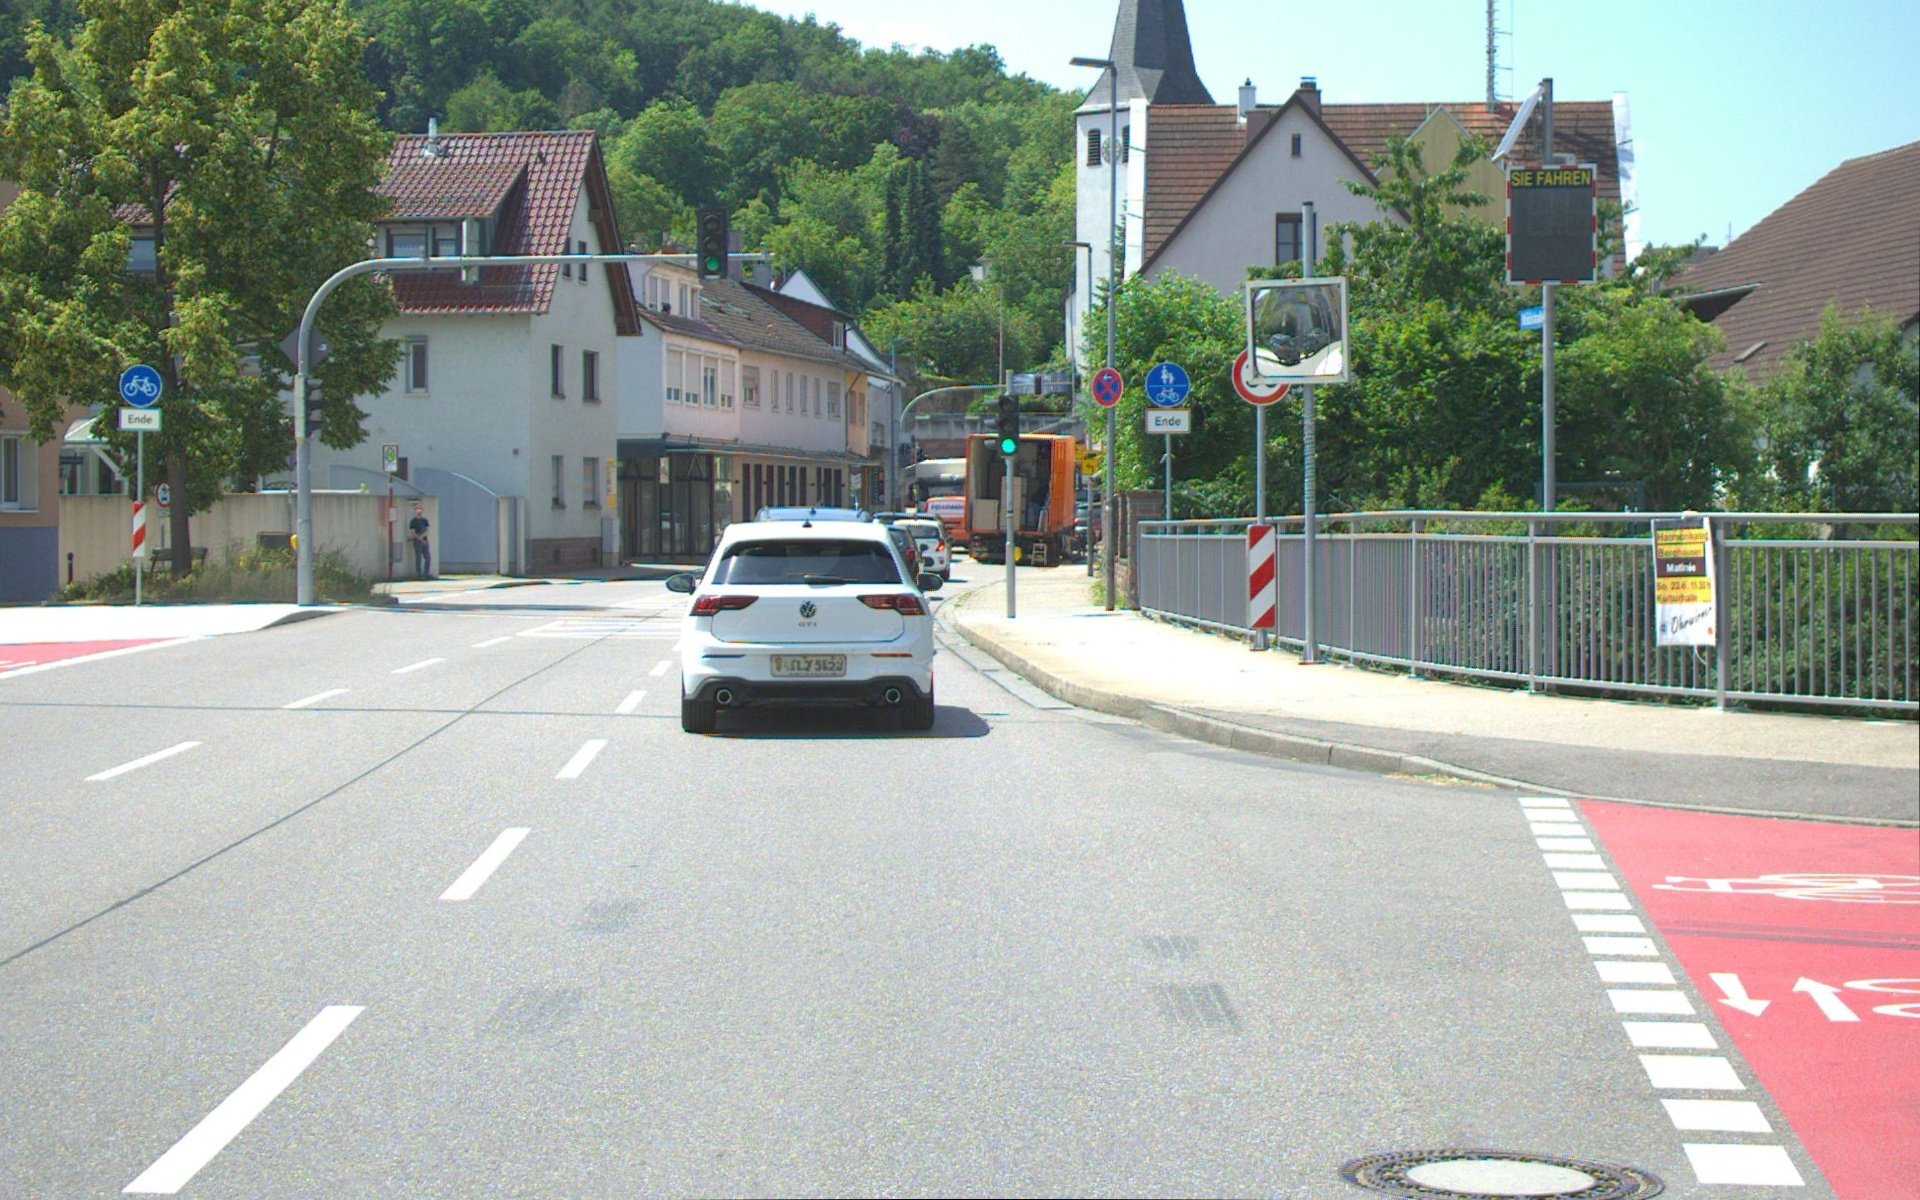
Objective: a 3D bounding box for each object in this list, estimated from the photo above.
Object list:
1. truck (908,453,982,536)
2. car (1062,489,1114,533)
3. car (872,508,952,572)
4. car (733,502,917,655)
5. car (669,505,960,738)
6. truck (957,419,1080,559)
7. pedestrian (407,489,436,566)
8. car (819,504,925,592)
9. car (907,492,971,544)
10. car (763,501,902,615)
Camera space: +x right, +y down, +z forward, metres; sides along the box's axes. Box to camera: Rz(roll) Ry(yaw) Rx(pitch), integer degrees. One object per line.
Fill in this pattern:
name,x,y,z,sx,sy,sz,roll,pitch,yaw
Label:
truck,-0.573,-4.246,139.227,2.502,3.224,6.039,-1,1,4
car,4.599,-3.180,123.746,1.815,1.514,4.000,-1,1,1
car,-1.161,-1.469,84.909,1.815,1.514,4.000,-1,1,1
car,-1.484,-0.266,39.032,1.815,1.623,4.000,-1,1,1
car,-0.974,0.113,24.897,1.815,1.514,4.000,1,1,1
truck,1.932,-3.419,108.478,3.367,4.155,9.518,-1,1,4
pedestrian,-12.389,-1.679,79.138,0.434,1.758,0.556,0,2,20
car,-1.665,-1.006,66.363,1.815,1.623,4.000,-1,1,1
car,-0.684,-2.748,115.683,1.993,1.699,4.312,-1,1,1
car,-1.869,-0.635,51.470,1.815,1.623,4.000,-1,1,1
